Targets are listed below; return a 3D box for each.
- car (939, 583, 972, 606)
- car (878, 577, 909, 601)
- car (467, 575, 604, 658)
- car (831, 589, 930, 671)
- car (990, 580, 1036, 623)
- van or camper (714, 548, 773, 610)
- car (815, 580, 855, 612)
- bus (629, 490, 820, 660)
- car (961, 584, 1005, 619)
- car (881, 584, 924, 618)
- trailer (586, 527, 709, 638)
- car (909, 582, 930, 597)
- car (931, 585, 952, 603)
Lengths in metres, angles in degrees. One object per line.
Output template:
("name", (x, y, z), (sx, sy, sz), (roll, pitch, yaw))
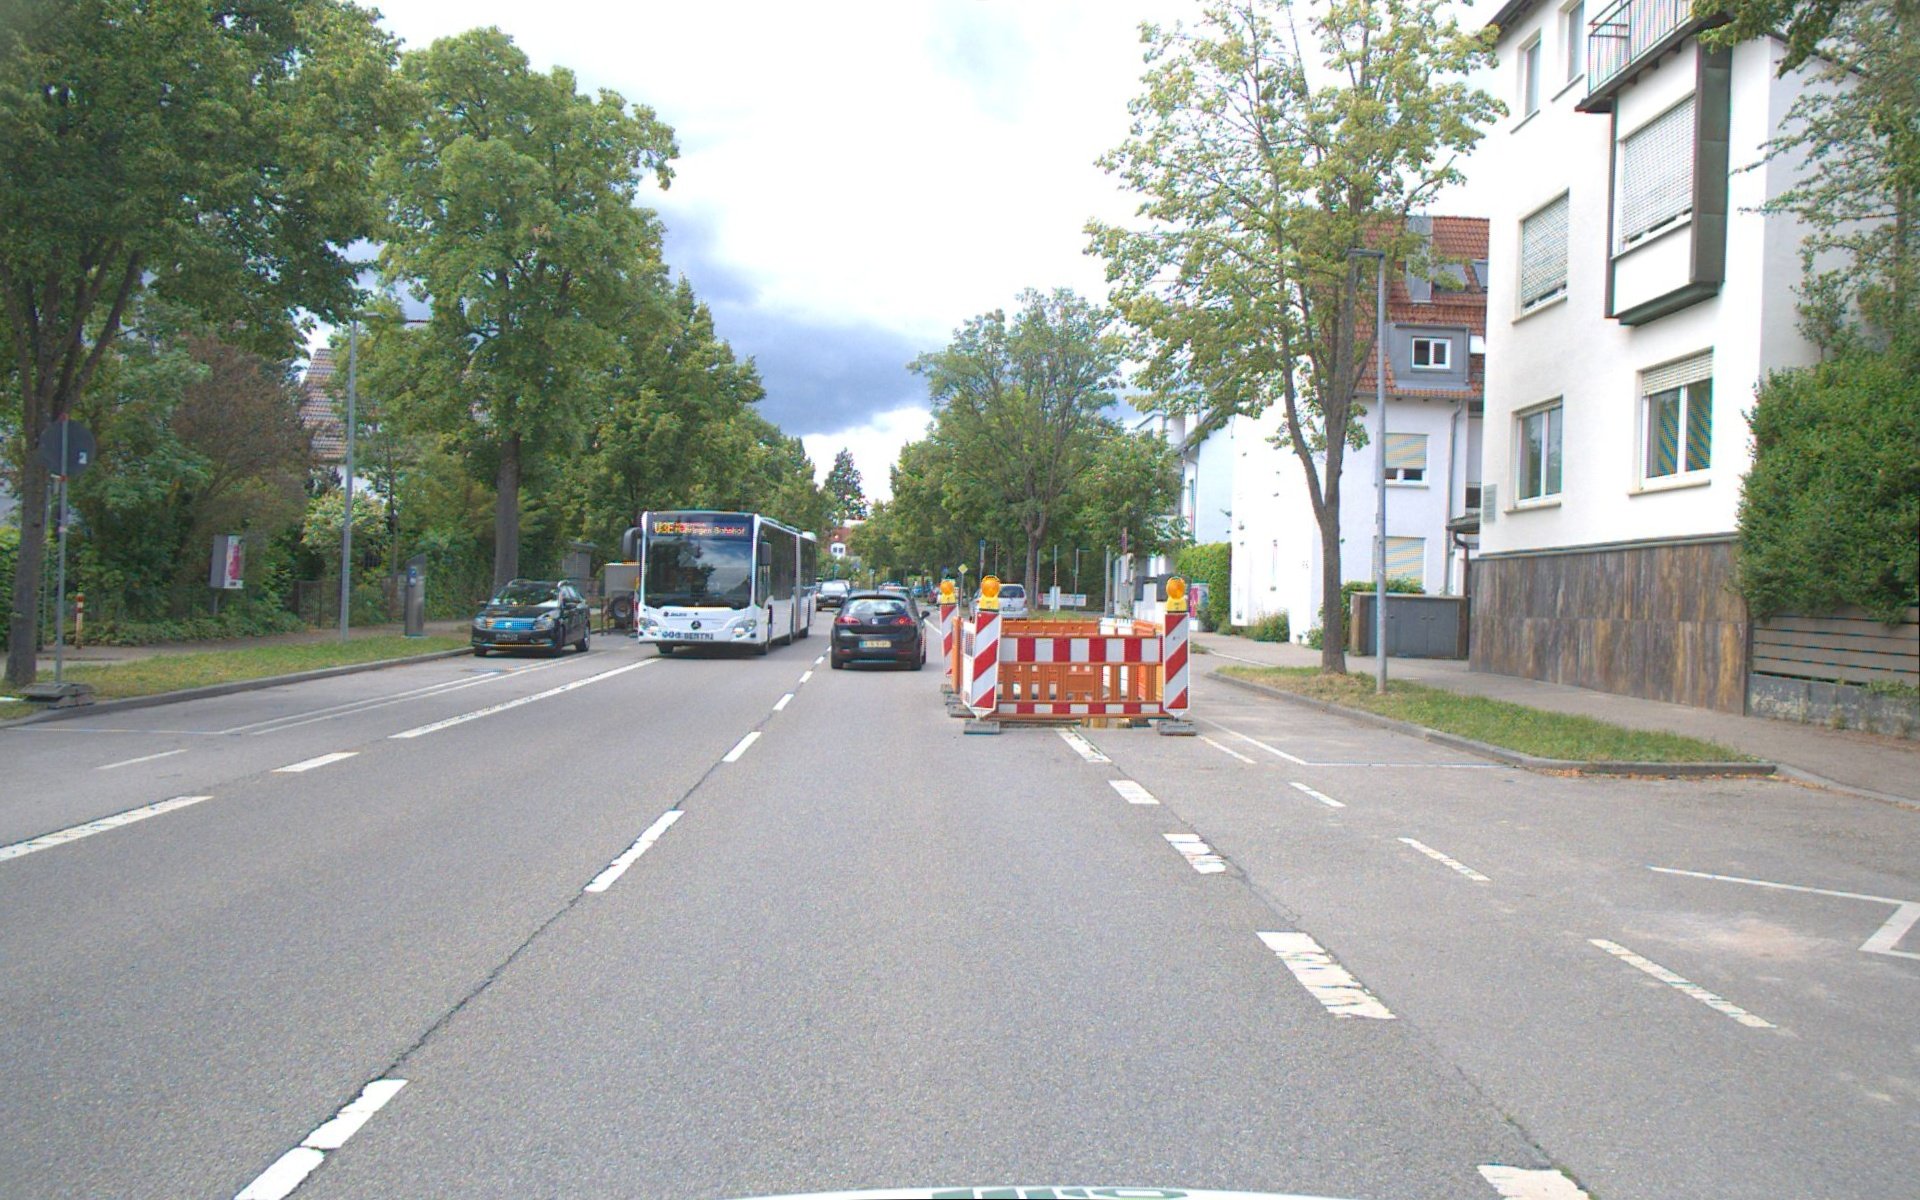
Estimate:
("car", (-0.310, -0.385, 111.598), (1.980, 1.468, 5.023), (1, 1, -2))
("car", (-4.628, -0.764, 114.336), (1.954, 1.556, 3.996), (1, 0, -5))
("car", (-8.782, 0.364, 34.621), (1.823, 1.580, 4.617), (1, -1, -3))
("car", (-1.574, 0.536, 31.812), (1.748, 1.474, 3.554), (1, 0, -5))
("car", (2.162, 0.054, 68.056), (1.600, 1.694, 3.646), (1, 0, -3))
("van or camper", (-11.331, -1.104, 87.087), (2.386, 3.062, 7.689), (1, 0, -3))
("car", (-7.039, -0.238, 93.445), (1.953, 1.697, 4.588), (-1, 0, -1))
("bus", (-5.521, -0.478, 42.401), (2.748, 3.346, 18.038), (1, 0, -2))
("car", (1.014, 0.042, 73.723), (1.654, 1.519, 4.224), (1, 0, -3))
("car", (-2.739, 0.026, 79.814), (1.953, 1.585, 3.999), (1, 0, -1))
("trailer", (-9.222, -0.479, 49.606), (2.621, 2.992, 7.470), (2, 0, -4))
("car", (-4.114, -1.100, 166.751), (1.651, 1.457, 4.037), (1, 1, -8))
("car", (-1.462, -0.478, 131.858), (1.605, 1.445, 3.999), (1, 1, -1))
